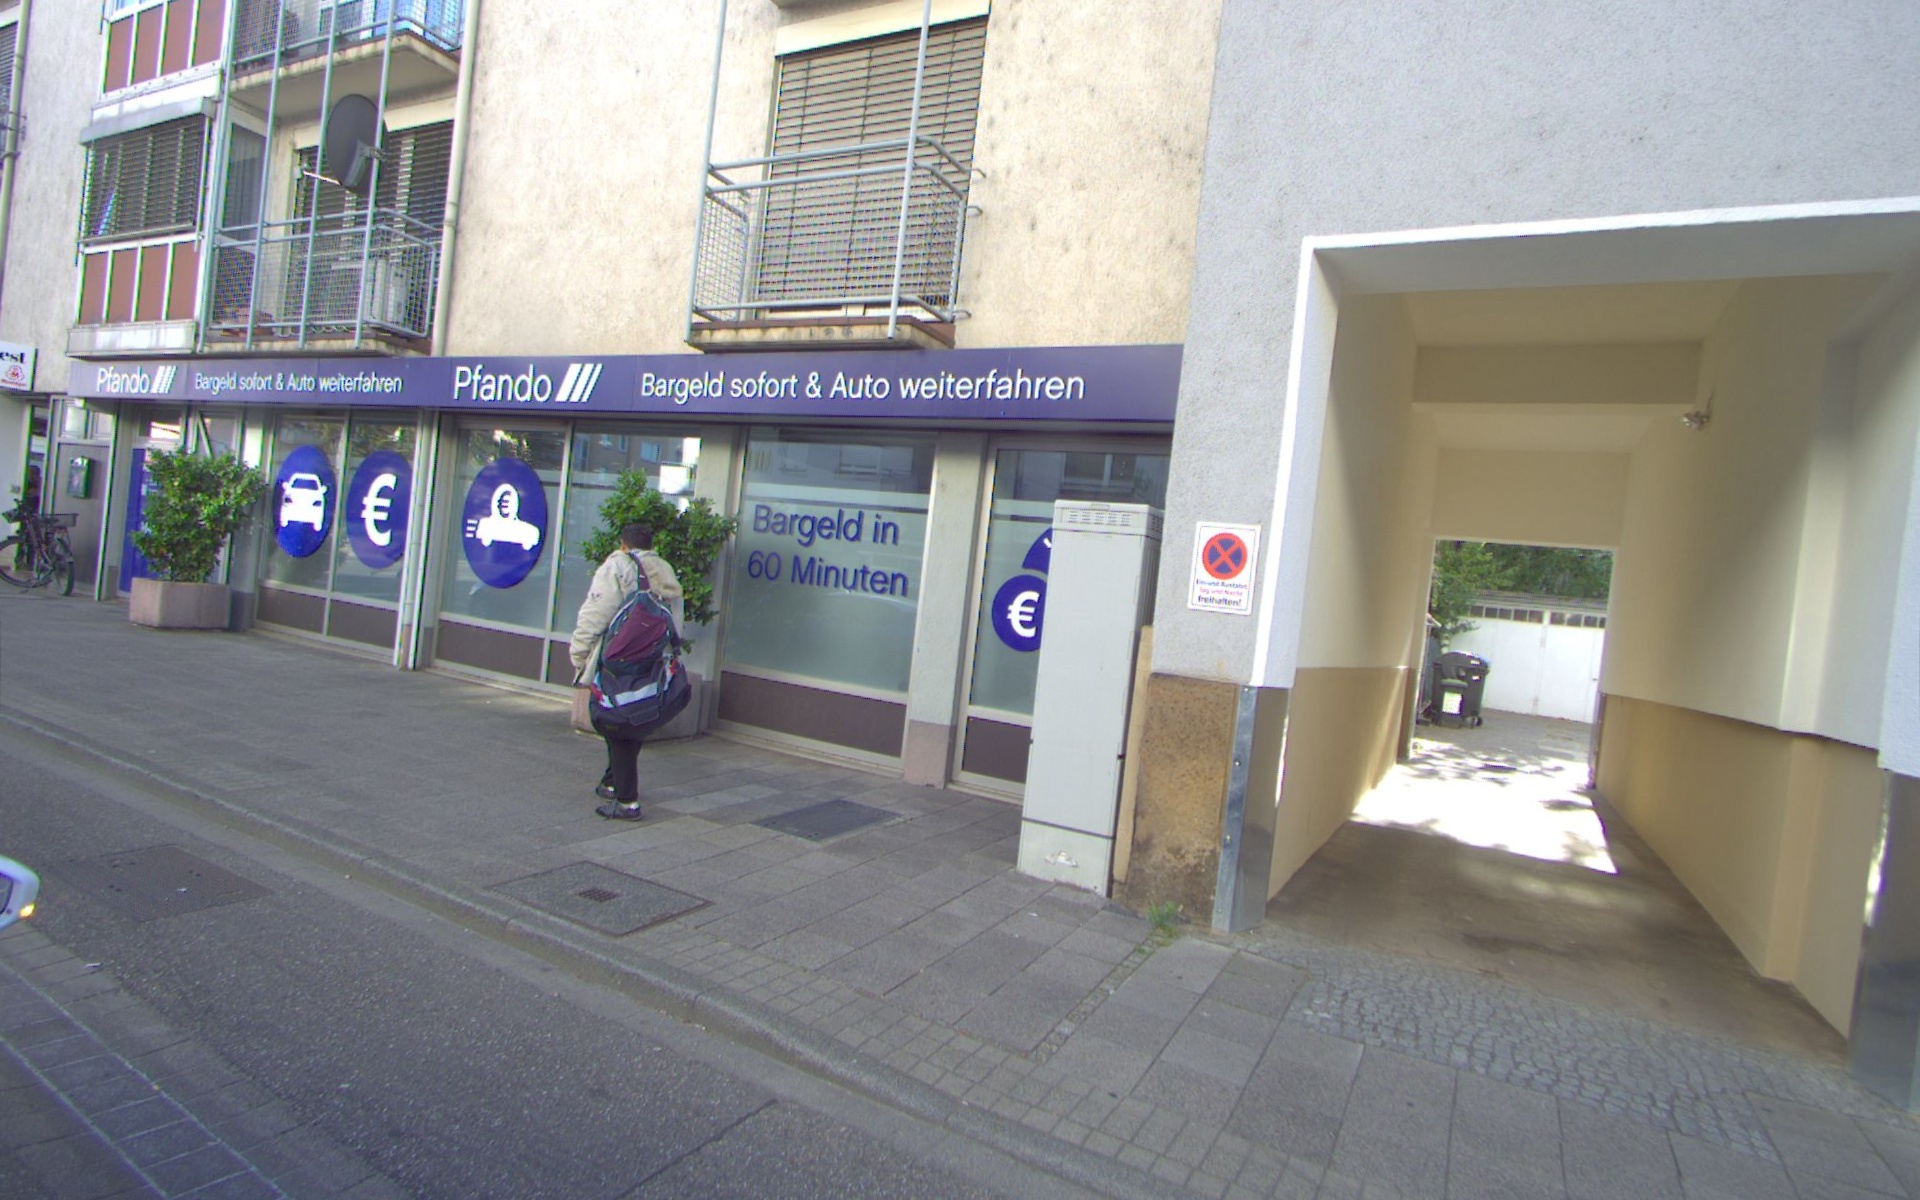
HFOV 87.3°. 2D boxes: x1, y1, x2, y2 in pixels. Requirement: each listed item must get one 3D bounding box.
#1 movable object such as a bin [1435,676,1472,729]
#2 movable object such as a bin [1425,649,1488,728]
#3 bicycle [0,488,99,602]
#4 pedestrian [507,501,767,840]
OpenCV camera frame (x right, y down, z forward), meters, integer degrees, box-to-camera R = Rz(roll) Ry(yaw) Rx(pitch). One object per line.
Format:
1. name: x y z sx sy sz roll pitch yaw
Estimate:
1. movable object such as a bin: 9.554 1.973 19.455 0.518 0.922 0.580 7 1 29
2. movable object such as a bin: 10.105 1.780 20.459 0.945 1.426 1.598 7 1 29
3. bicycle: -11.851 -0.732 12.880 1.879 1.280 0.640 7 1 32
4. pedestrian: -1.729 0.337 5.438 0.853 1.593 0.874 8 3 29
